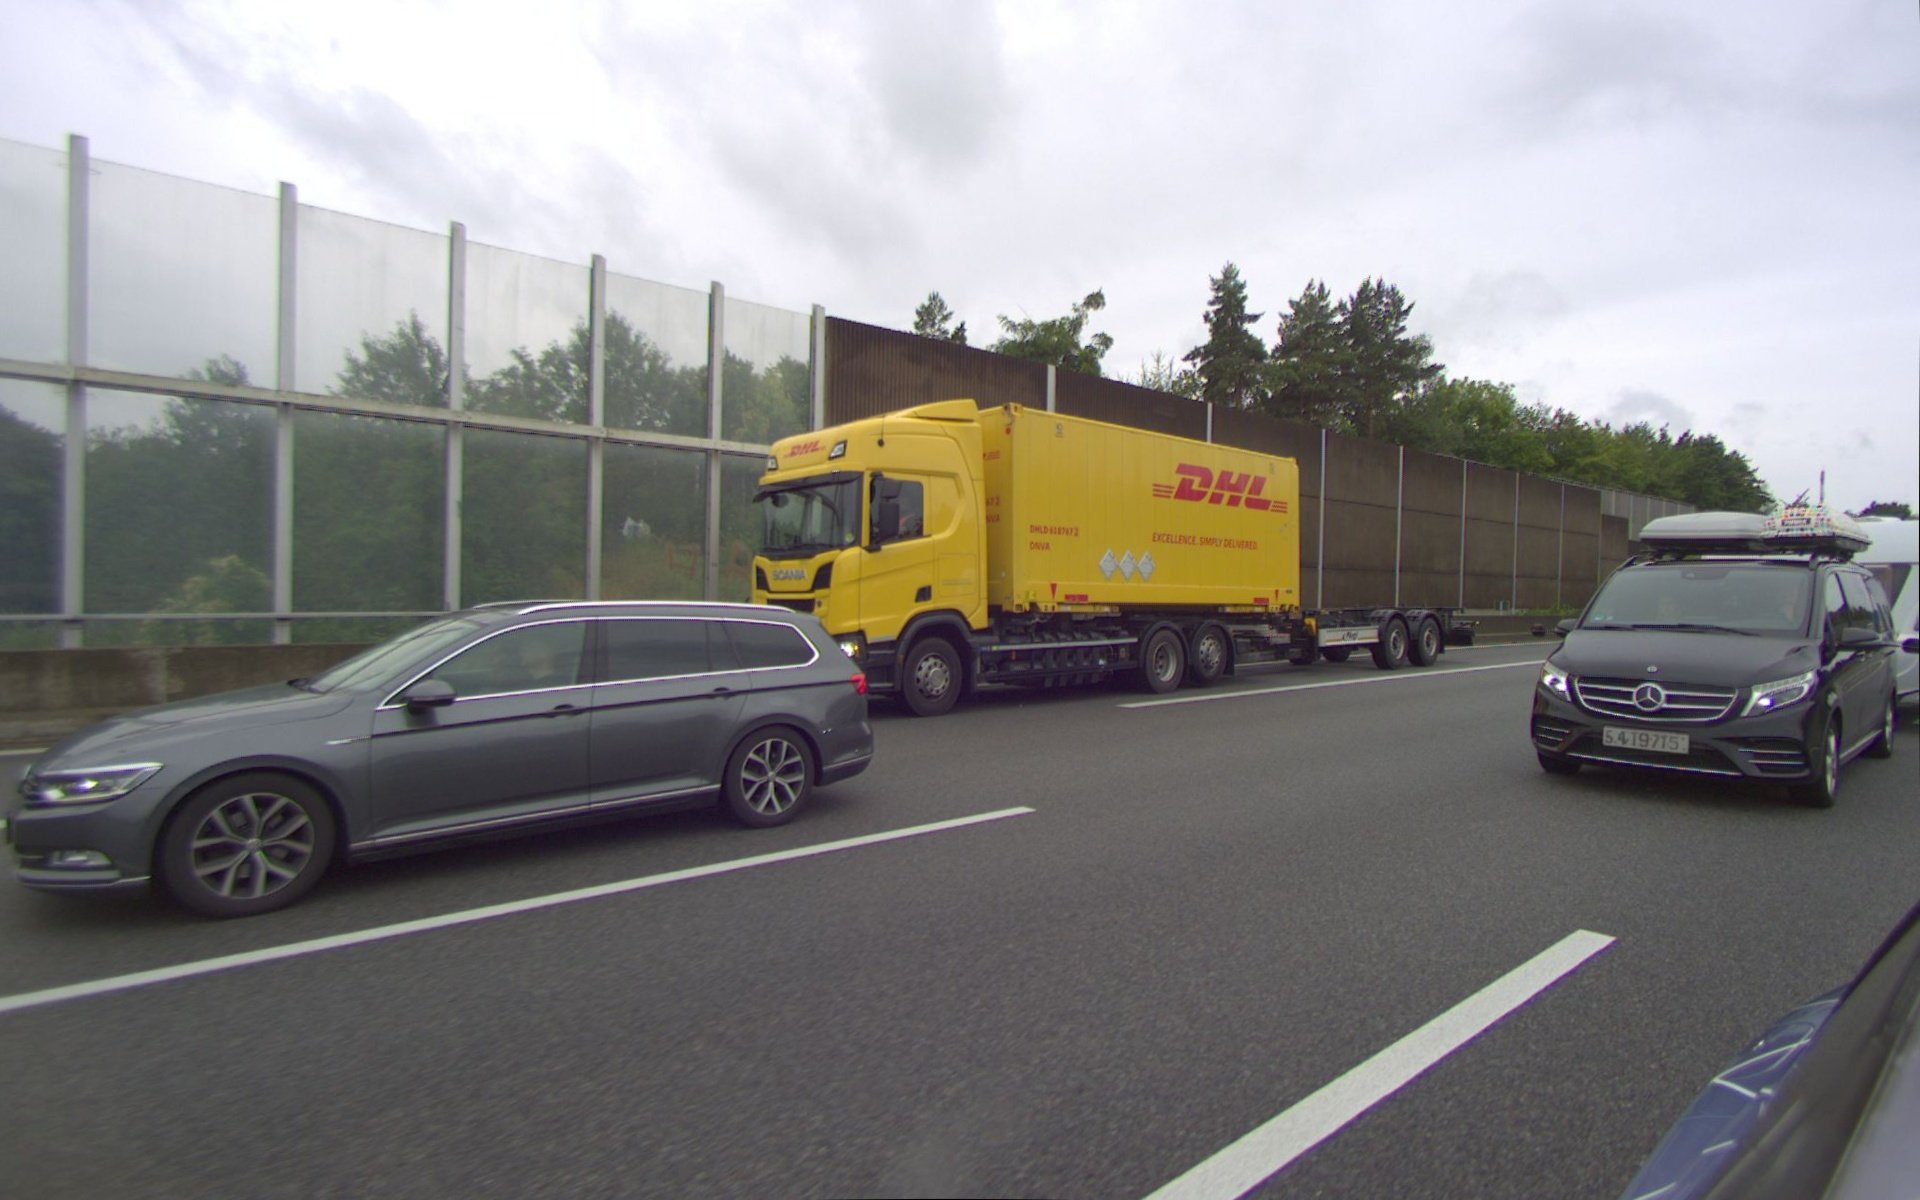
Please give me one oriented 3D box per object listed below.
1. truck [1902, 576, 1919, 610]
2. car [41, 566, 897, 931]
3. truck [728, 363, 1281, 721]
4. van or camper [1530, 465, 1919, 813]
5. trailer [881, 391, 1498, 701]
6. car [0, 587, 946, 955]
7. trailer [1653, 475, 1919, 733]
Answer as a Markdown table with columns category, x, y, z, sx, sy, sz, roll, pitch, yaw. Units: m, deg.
| category | x | y | z | sx | sy | sz | roll | pitch | yaw |
| --- | --- | --- | --- | --- | --- | --- | --- | --- | --- |
| truck | 102.725 | -0.722 | 108.384 | 3.934 | 3.508 | 2.416 | 0 | 1 | -44 |
| car | -2.628 | 0.582 | 6.193 | 4.393 | 1.475 | 1.665 | -1 | 0 | -42 |
| truck | 1.237 | -0.690 | 15.408 | 9.167 | 4.008 | 2.689 | -1 | 0 | -42 |
| van or camper | 7.292 | 0.239 | 9.248 | 5.580 | 2.298 | 1.894 | 0 | 1 | -41 |
| trailer | 5.794 | -0.770 | 19.545 | 16.400 | 4.003 | 2.654 | -1 | 0 | -42 |
| car | -2.685 | 0.674 | 6.208 | 5.196 | 1.445 | 1.943 | 0 | 0 | -41 |
| trailer | 12.085 | 0.009 | 13.674 | 7.380 | 2.675 | 2.726 | 0 | 1 | -41 |
